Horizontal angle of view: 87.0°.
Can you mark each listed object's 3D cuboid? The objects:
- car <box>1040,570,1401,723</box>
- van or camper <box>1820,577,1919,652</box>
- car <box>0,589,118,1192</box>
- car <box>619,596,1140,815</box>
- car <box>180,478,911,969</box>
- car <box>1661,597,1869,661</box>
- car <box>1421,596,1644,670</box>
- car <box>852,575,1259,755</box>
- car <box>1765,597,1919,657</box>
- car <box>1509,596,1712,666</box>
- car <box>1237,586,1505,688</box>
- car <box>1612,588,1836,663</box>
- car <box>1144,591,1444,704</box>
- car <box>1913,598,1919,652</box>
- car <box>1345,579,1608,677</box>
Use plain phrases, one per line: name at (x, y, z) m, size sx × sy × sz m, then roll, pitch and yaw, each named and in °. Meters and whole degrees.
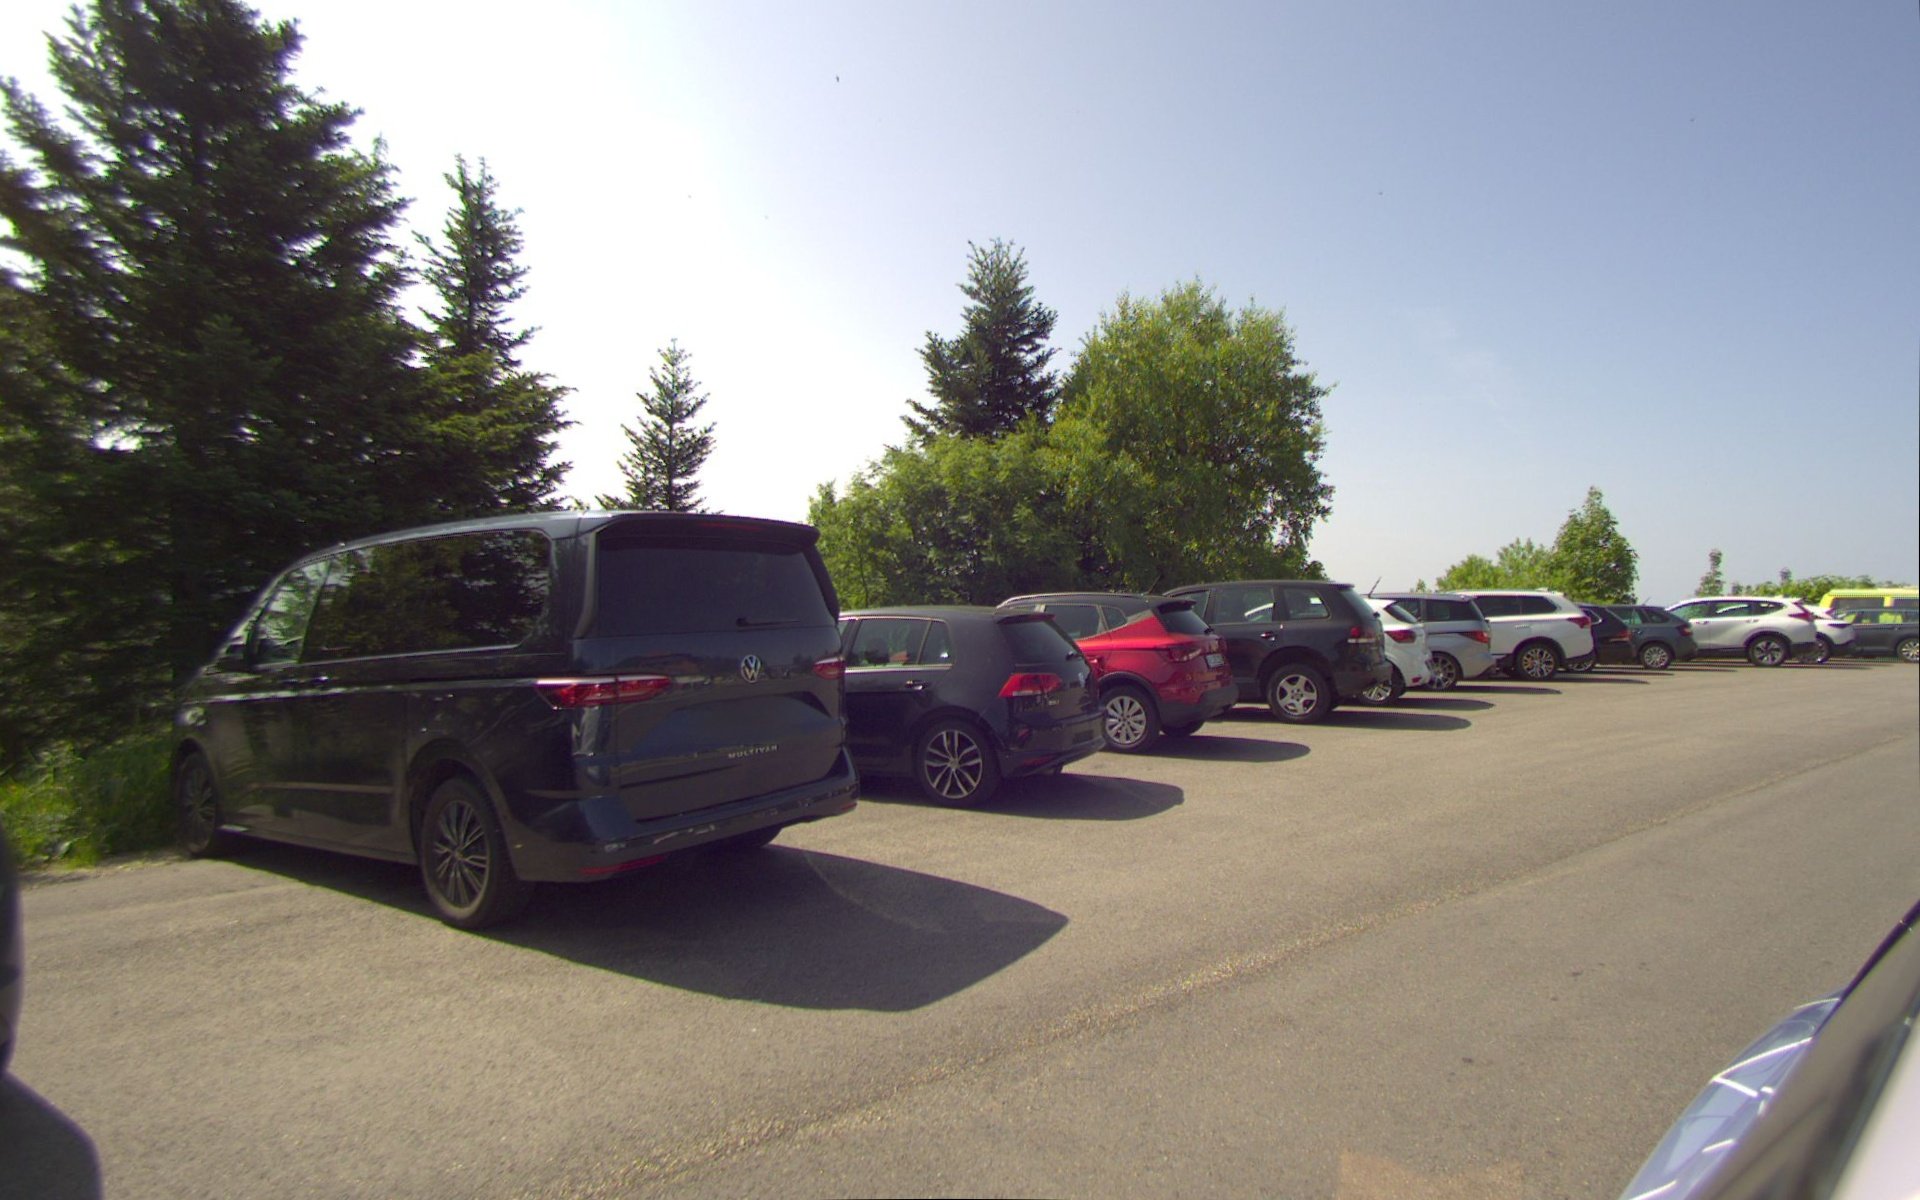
car at (3.375, 0.562, 13.258) m, size 4.235 × 1.716 × 1.970 m, roll -1°, pitch -1°, yaw 29°
van or camper at (27.247, 0.415, 27.853) m, size 1.844 × 2.040 × 5.110 m, roll 2°, pitch -2°, yaw -30°
car at (-4.352, 0.736, 2.990) m, size 3.971 × 1.461 × 1.818 m, roll -1°, pitch -1°, yaw 34°
car at (-0.688, 0.733, 8.304) m, size 3.959 × 1.433 × 1.729 m, roll -1°, pitch -1°, yaw 26°
car at (-2.743, 0.523, 6.140) m, size 4.743 × 1.904 × 1.941 m, roll -1°, pitch -1°, yaw 36°
car at (20.674, 0.684, 26.092) m, size 4.085 × 1.519 × 1.914 m, roll 0°, pitch 0°, yaw 43°
car at (12.203, 0.694, 21.876) m, size 4.011 × 1.480 × 1.877 m, roll -1°, pitch -1°, yaw 27°
car at (0.991, 0.625, 10.888) m, size 3.964 × 1.610 × 1.844 m, roll -1°, pitch -1°, yaw 30°
car at (24.339, 0.725, 26.870) m, size 1.780 × 1.507 × 4.358 m, roll 2°, pitch -3°, yaw -40°
car at (14.782, 0.697, 23.192) m, size 3.777 × 1.478 × 1.643 m, roll -1°, pitch -2°, yaw 33°
car at (6.827, 0.606, 17.085) m, size 3.953 × 1.569 × 1.806 m, roll -1°, pitch -1°, yaw 23°
car at (18.302, 0.617, 24.490) m, size 4.158 × 1.671 × 1.868 m, roll -1°, pitch -1°, yaw 36°
car at (4.932, 0.652, 15.060) m, size 3.965 × 1.495 × 1.749 m, roll -1°, pitch 0°, yaw 30°
car at (30.041, 0.757, 28.664) m, size 1.671 × 1.609 × 4.167 m, roll 1°, pitch -1°, yaw -32°
car at (9.663, 0.512, 19.323) m, size 4.170 × 1.716 × 1.853 m, roll 0°, pitch -1°, yaw 18°
